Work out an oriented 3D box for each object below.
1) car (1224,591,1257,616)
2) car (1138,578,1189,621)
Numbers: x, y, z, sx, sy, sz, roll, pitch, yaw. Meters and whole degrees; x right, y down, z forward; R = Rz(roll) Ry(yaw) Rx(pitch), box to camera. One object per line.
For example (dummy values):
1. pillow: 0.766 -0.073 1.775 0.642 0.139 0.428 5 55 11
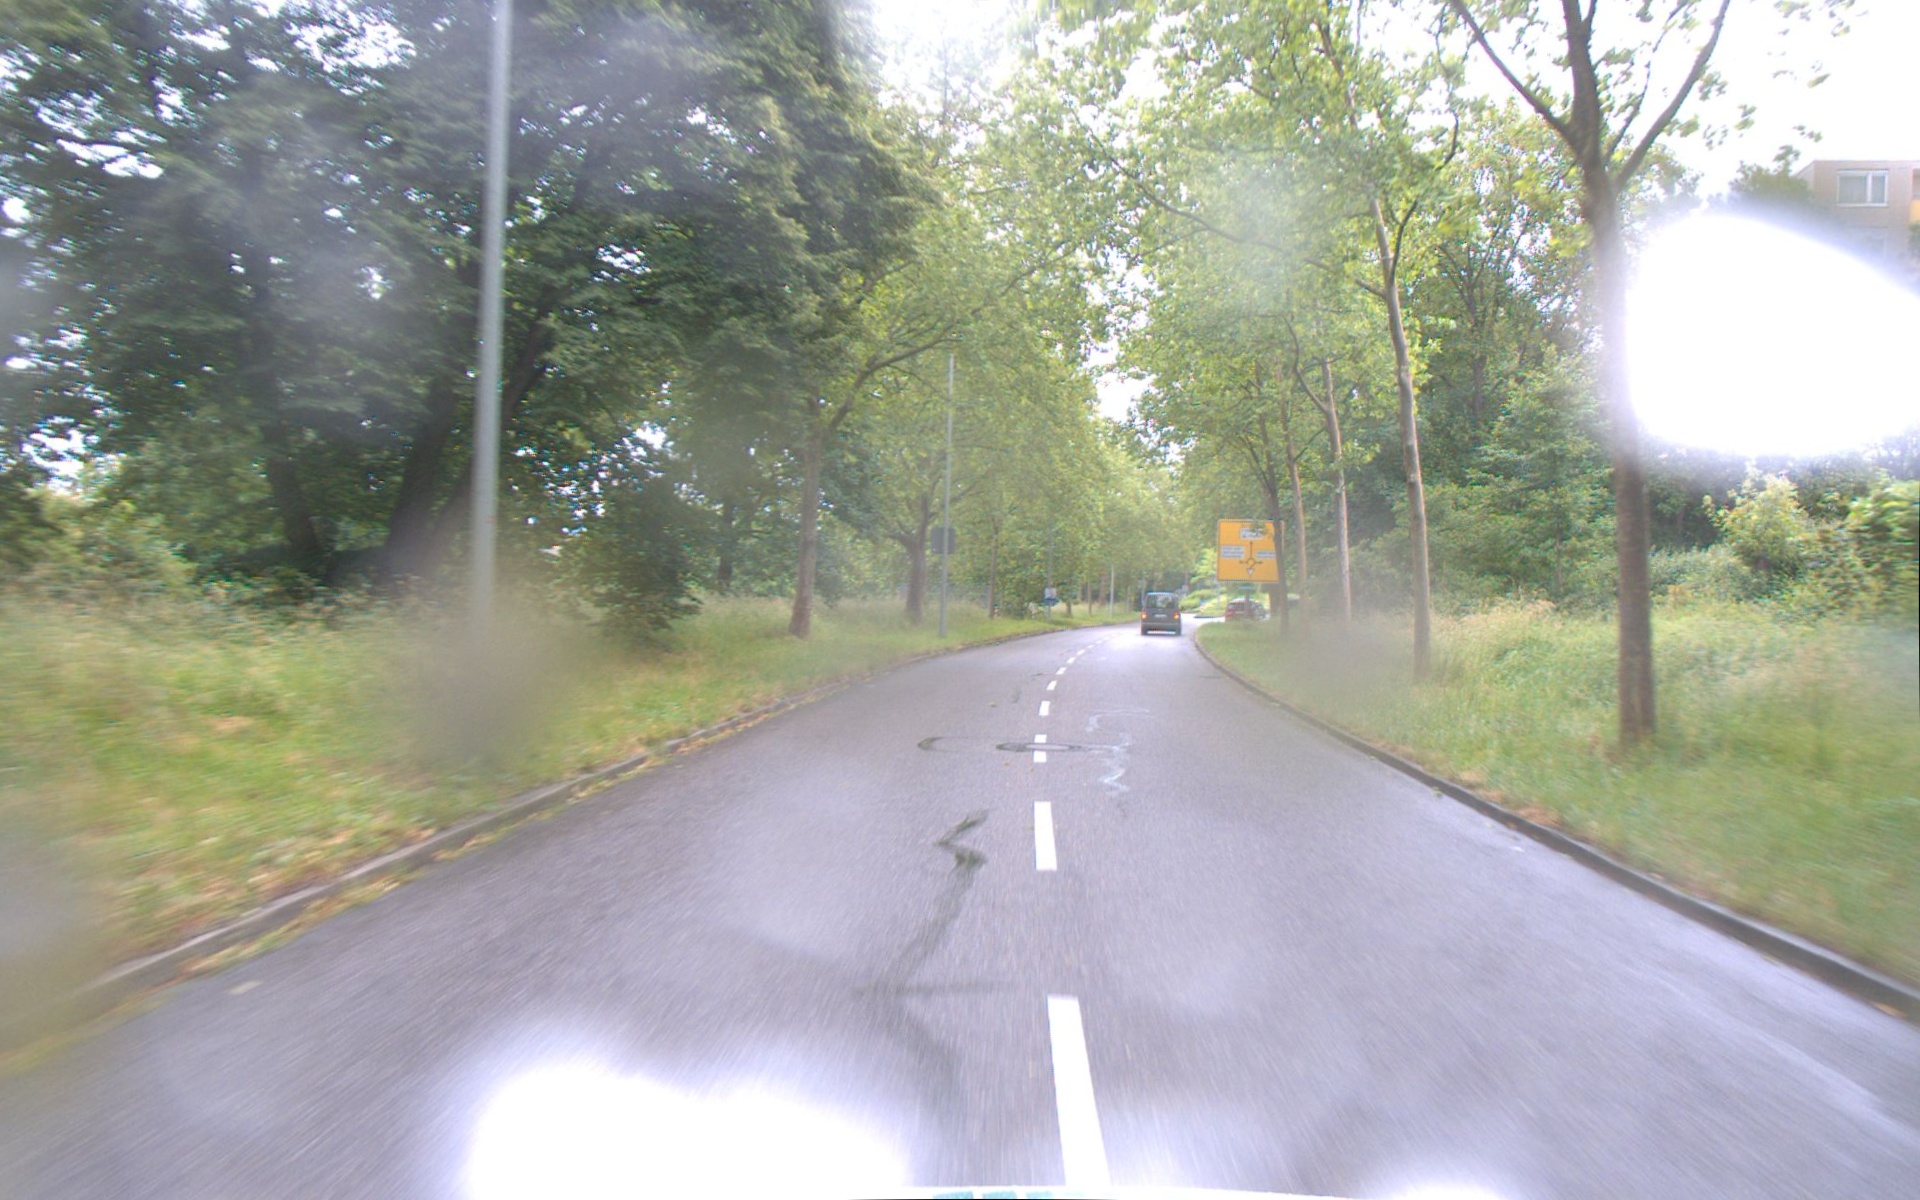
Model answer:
1. car: 16.160 0.232 95.201 1.759 1.396 3.747 0 -1 11
2. car: 9.079 -0.030 73.630 1.877 1.832 3.793 1 1 13
